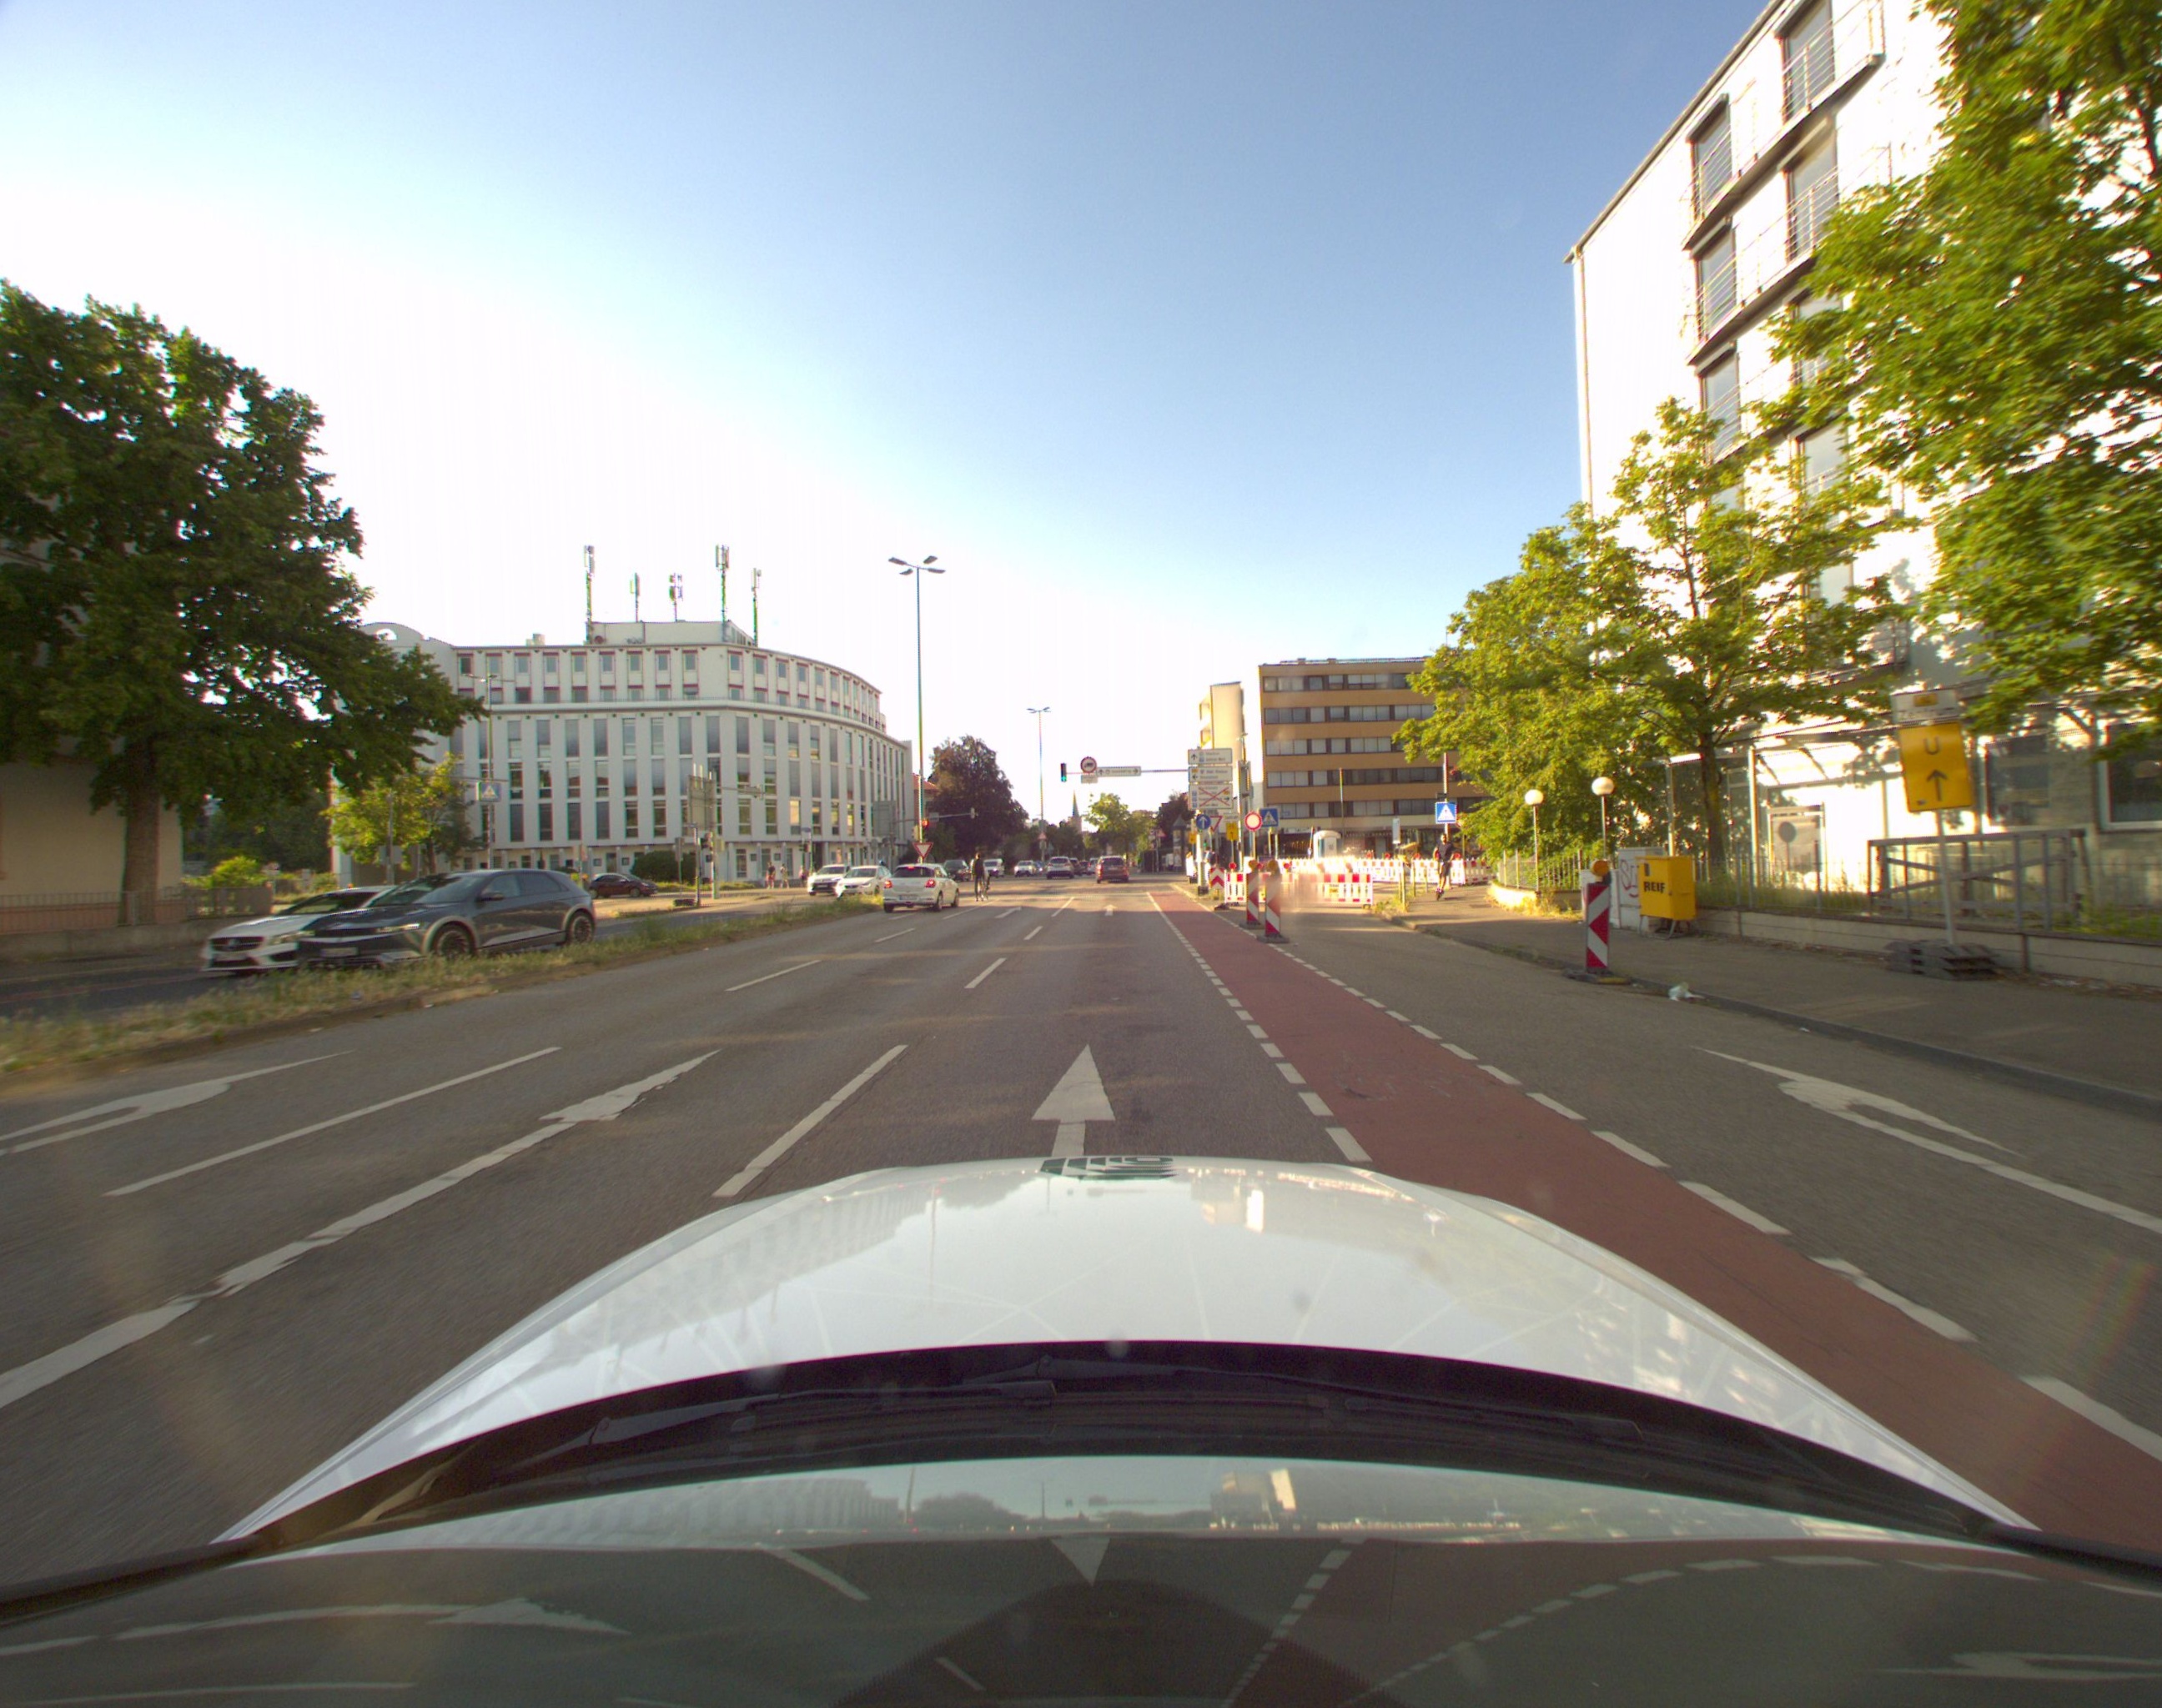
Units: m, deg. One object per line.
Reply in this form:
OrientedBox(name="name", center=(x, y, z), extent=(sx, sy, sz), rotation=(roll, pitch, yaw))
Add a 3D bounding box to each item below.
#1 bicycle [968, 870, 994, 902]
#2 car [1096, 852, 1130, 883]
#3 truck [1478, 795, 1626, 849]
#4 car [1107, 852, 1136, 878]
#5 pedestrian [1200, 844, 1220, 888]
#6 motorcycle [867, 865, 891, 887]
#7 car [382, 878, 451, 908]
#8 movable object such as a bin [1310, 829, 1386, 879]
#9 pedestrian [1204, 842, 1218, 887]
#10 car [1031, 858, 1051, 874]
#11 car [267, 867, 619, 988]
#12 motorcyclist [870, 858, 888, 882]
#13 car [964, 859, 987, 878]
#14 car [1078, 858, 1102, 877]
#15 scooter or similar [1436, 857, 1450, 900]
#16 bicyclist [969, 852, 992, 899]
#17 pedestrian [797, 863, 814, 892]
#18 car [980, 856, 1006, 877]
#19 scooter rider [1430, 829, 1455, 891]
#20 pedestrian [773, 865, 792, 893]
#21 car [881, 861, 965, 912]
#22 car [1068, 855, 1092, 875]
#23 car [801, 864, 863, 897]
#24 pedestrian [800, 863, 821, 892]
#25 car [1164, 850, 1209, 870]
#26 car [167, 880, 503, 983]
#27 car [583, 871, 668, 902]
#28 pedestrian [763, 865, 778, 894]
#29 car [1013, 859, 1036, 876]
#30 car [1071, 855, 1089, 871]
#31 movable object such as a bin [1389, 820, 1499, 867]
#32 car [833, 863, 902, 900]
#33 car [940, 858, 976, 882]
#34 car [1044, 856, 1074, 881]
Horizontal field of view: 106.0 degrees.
OrientedBox(name="bicycle", center=(-3.807, 1.202, 31.099), extent=(0.697, 1.100, 2.257), rotation=(-2, 0, -1))
OrientedBox(name="car", center=(1.801, 0.722, 44.842), extent=(1.741, 1.564, 4.052), rotation=(-2, 0, 3))
OrientedBox(name="truck", center=(28.210, -1.889, 48.977), extent=(7.311, 2.898, 2.806), rotation=(-2, 0, -1))
OrientedBox(name="car", center=(2.690, 0.743, 55.329), extent=(1.813, 1.640, 4.001), rotation=(-2, 0, 1))
OrientedBox(name="pedestrian", center=(5.437, 0.489, 34.288), extent=(0.737, 1.799, 0.717), rotation=(-2, -1, 7))
OrientedBox(name="motorcycle", center=(-12.579, 1.374, 50.799), extent=(0.767, 1.284, 2.842), rotation=(-2, 0, 0))
OrientedBox(name="car", center=(-48.912, 2.870, 60.007), extent=(3.893, 1.736, 1.752), rotation=(-2, -8, -40))
OrientedBox(name="movable object such as a bin", center=(13.608, -0.018, 41.593), extent=(3.316, 2.383, 1.529), rotation=(-2, -1, 1))
OrientedBox(name="pedestrian", center=(5.577, 0.444, 34.956), extent=(0.518, 1.868, 0.616), rotation=(-2, -1, 7))
OrientedBox(name="car", center=(-4.011, 1.165, 82.238), extent=(1.842, 1.461, 4.048), rotation=(-2, 0, 0))
OrientedBox(name="car", center=(-10.339, 1.069, 13.863), extent=(1.986, 1.578, 4.901), rotation=(-2, 0, 1))
OrientedBox(name="motorcyclist", center=(-12.591, 0.998, 50.711), extent=(0.767, 1.419, 1.238), rotation=(-2, -1, 0))
OrientedBox(name="car", center=(-10.640, 1.463, 82.537), extent=(1.743, 1.811, 4.048), rotation=(-2, 0, 0))
OrientedBox(name="car", center=(0.831, 1.195, 72.425), extent=(1.986, 1.508, 4.000), rotation=(-4, -2, 1))
OrientedBox(name="scooter or similar", center=(10.590, 0.696, 23.800), extent=(0.327, 1.194, 1.258), rotation=(-2, -1, 25))
OrientedBox(name="bicyclist", center=(-3.819, 0.797, 31.021), extent=(0.689, 1.728, 0.987), rotation=(-2, -1, -1))
OrientedBox(name="pedestrian", center=(-18.624, 1.574, 54.999), extent=(0.654, 1.868, 0.783), rotation=(-2, -1, 23))
OrientedBox(name="car", center=(-8.249, 1.145, 76.794), extent=(1.909, 1.811, 4.716), rotation=(-2, 0, 0))
OrientedBox(name="scooter rider", center=(10.570, 0.174, 23.824), extent=(0.609, 1.790, 0.489), rotation=(-2, -1, 24))
OrientedBox(name="pedestrian", center=(-20.092, 1.654, 54.840), extent=(0.752, 1.842, 0.823), rotation=(-2, -1, 23))
OrientedBox(name="car", center=(-4.987, 0.979, 26.271), extent=(1.678, 1.457, 4.003), rotation=(-2, 0, 3))
OrientedBox(name="car", center=(-0.071, 0.875, 67.414), extent=(1.741, 1.564, 4.052), rotation=(-2, 0, 3))
OrientedBox(name="car", center=(-12.746, 1.316, 41.992), extent=(1.679, 1.498, 4.514), rotation=(-2, 0, 1))
OrientedBox(name="pedestrian", center=(-18.068, 1.570, 54.483), extent=(0.620, 1.868, 1.134), rotation=(-3, -1, 30))
OrientedBox(name="car", center=(10.831, 0.652, 83.826), extent=(4.349, 1.877, 2.000), rotation=(-2, -1, 0))
OrientedBox(name="car", center=(-13.546, 1.316, 15.273), extent=(1.985, 1.413, 4.447), rotation=(-3, 0, 3))
OrientedBox(name="car", center=(-26.323, 1.899, 47.188), extent=(3.797, 1.530, 1.862), rotation=(-3, -2, -1))
OrientedBox(name="pedestrian", center=(-20.931, 1.713, 54.905), extent=(0.657, 1.859, 0.779), rotation=(-2, -1, 1))
OrientedBox(name="car", center=(-5.267, 1.264, 76.150), extent=(1.842, 1.461, 4.048), rotation=(-2, 0, 0))
OrientedBox(name="car", center=(-0.135, 0.995, 88.330), extent=(1.658, 1.657, 4.003), rotation=(-2, 0, 3))
OrientedBox(name="movable object such as a bin", center=(21.432, -0.607, 48.328), extent=(5.333, 2.490, 2.547), rotation=(-2, -1, -1))
OrientedBox(name="car", center=(-9.024, 1.129, 34.730), extent=(1.678, 1.392, 4.183), rotation=(-2, 0, 2))
OrientedBox(name="car", center=(-8.212, 1.044, 54.629), extent=(1.652, 1.494, 4.000), rotation=(-2, 0, 1))
OrientedBox(name="car", center=(-1.482, 0.966, 55.989), extent=(1.741, 1.564, 4.052), rotation=(-2, 0, 3))
